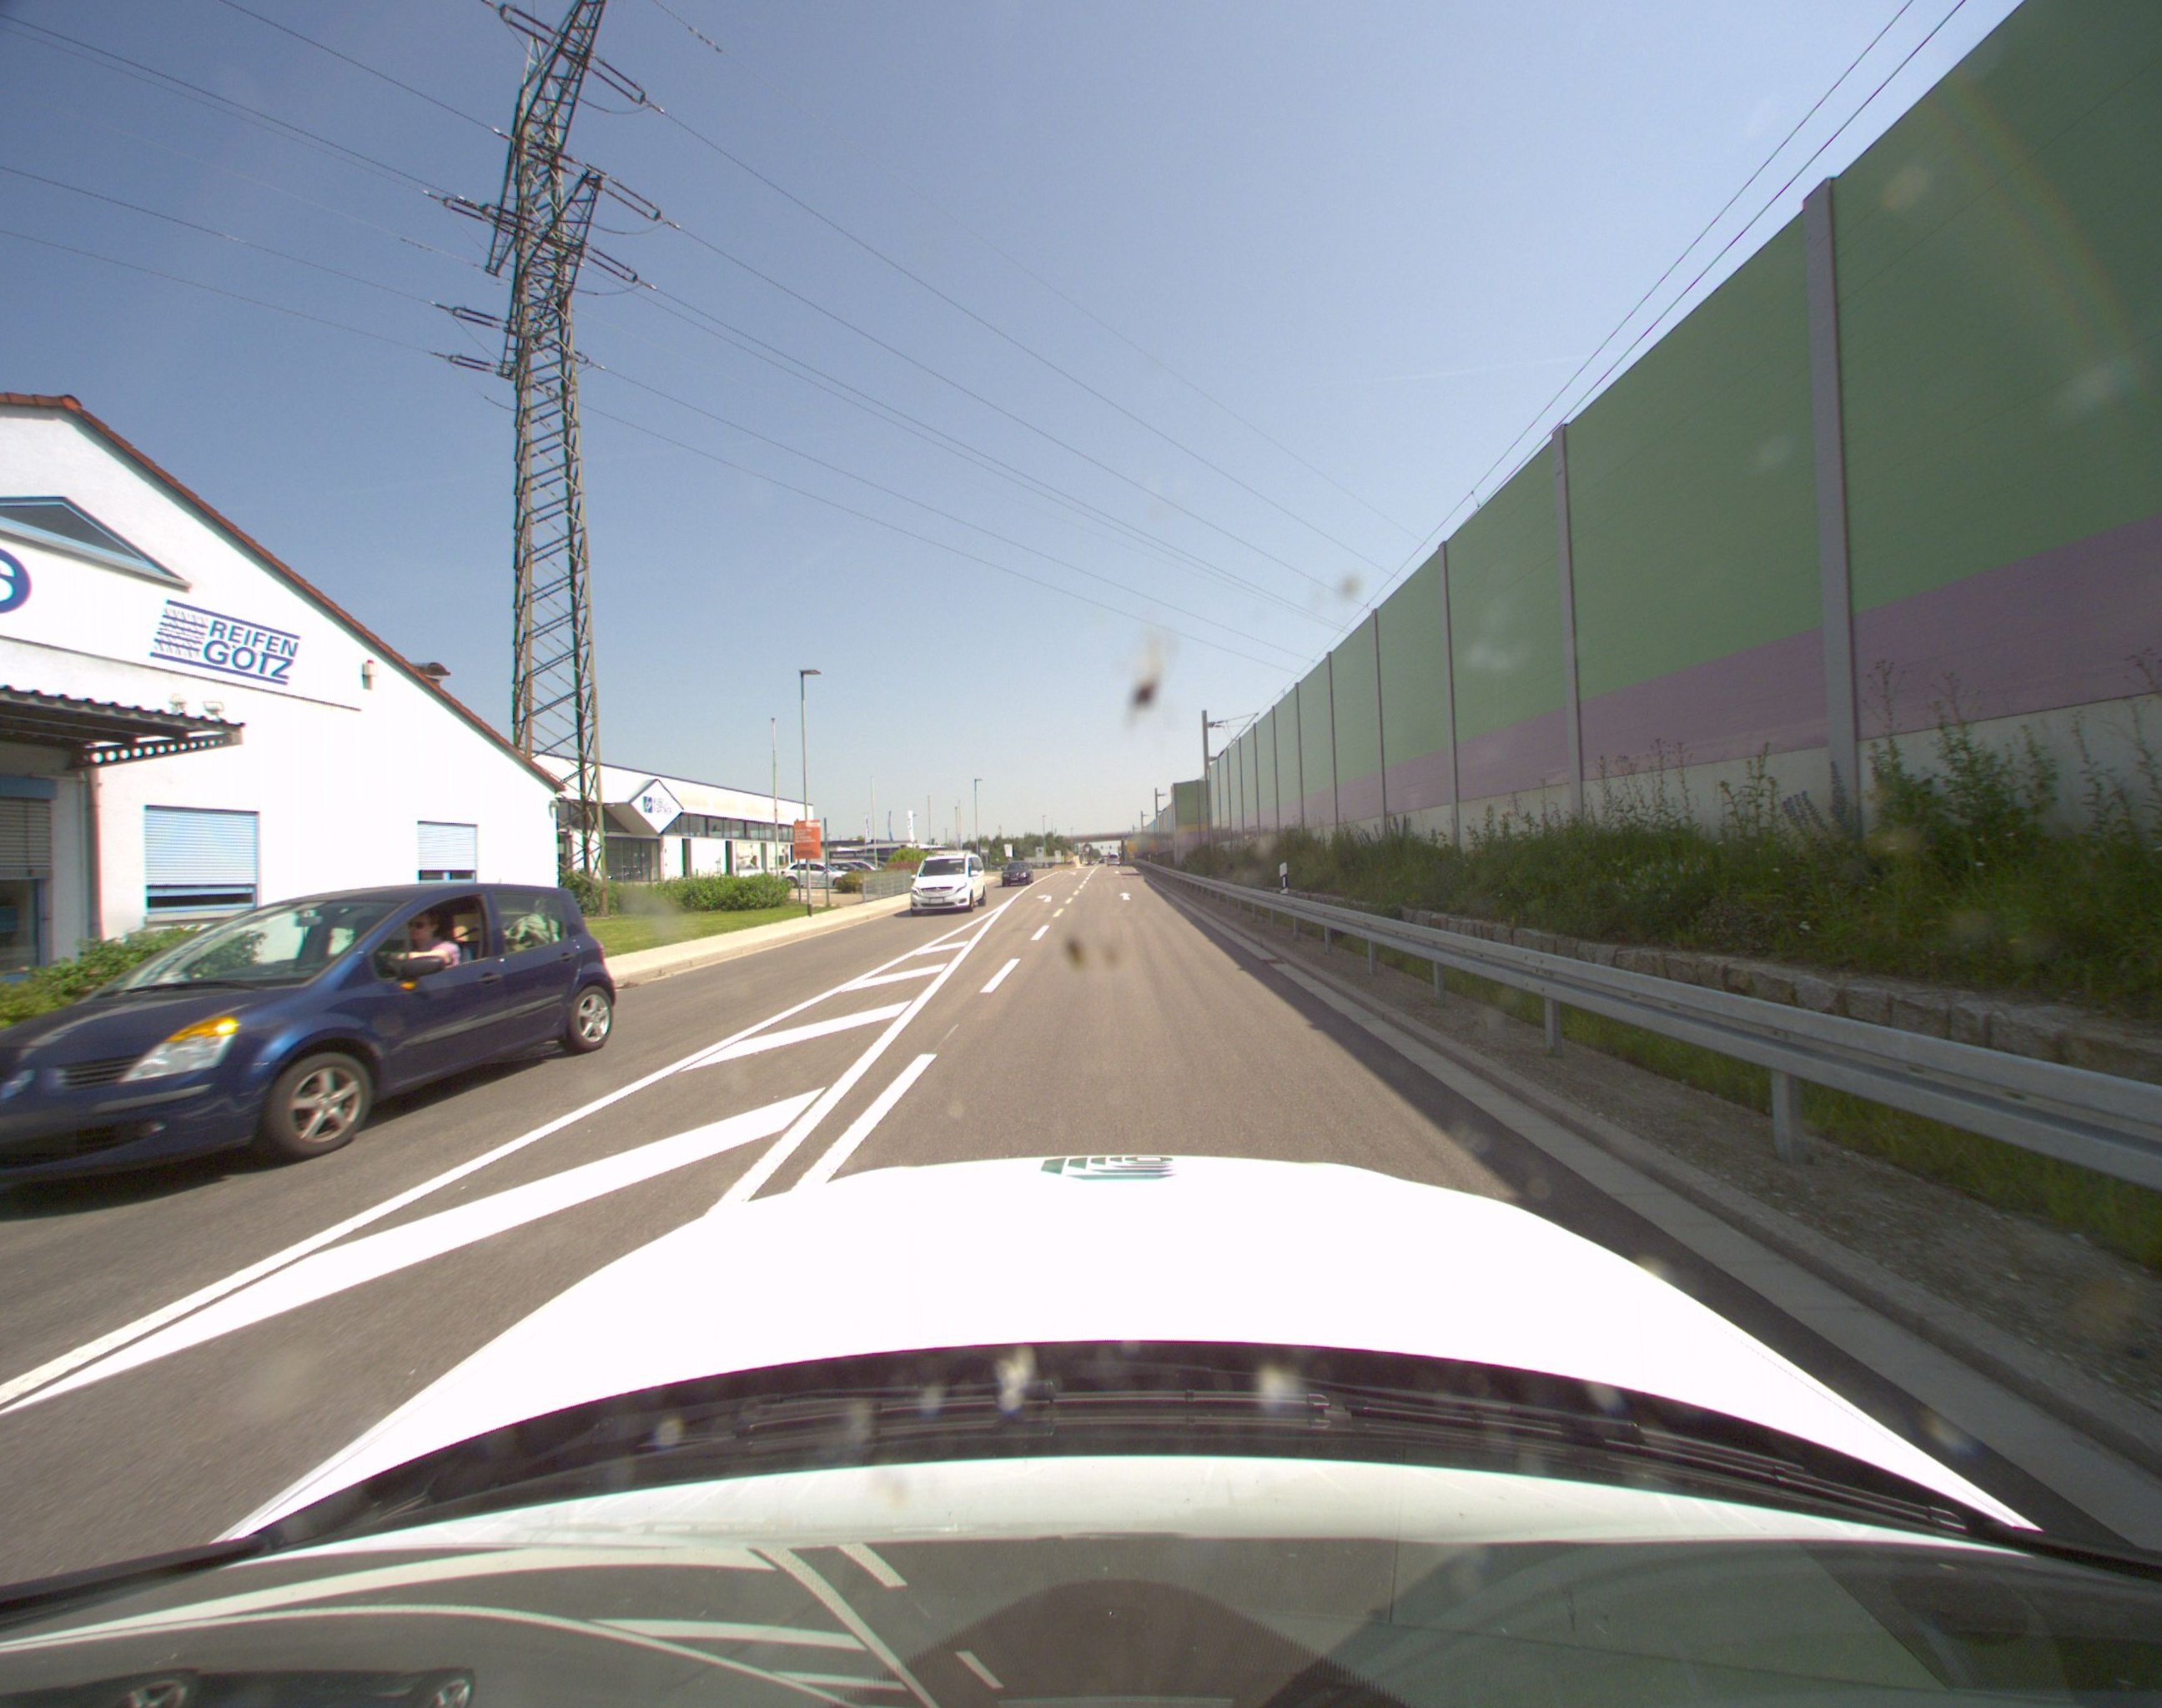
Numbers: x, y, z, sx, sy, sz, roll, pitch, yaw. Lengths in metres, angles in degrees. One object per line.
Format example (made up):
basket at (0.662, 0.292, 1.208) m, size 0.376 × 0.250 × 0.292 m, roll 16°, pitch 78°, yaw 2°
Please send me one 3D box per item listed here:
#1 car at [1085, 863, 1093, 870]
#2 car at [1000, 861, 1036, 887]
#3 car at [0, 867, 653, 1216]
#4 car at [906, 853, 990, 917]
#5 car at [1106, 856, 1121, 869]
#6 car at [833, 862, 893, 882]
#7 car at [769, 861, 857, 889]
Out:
car at (2.055, 3.357, 217.880) m, size 1.870 × 1.673 × 4.293 m, roll -3°, pitch 0°, yaw 2°
car at (-3.689, 1.153, 48.200) m, size 1.664 × 1.423 × 4.001 m, roll -2°, pitch 0°, yaw 2°
car at (-5.124, 0.973, 5.989) m, size 1.662 × 1.600 × 3.974 m, roll -4°, pitch 0°, yaw 2°
car at (-4.391, 0.991, 27.723) m, size 1.988 × 1.874 × 5.167 m, roll -3°, pitch -1°, yaw -1°
car at (4.667, 1.209, 115.124) m, size 1.985 × 1.757 × 4.004 m, roll -2°, pitch 0°, yaw 4°
car at (-14.339, 1.175, 53.703) m, size 3.498 × 1.254 × 1.504 m, roll 0°, pitch 0°, yaw 0°
car at (-14.669, 1.158, 44.746) m, size 4.210 × 1.456 × 1.764 m, roll 0°, pitch 0°, yaw 0°
